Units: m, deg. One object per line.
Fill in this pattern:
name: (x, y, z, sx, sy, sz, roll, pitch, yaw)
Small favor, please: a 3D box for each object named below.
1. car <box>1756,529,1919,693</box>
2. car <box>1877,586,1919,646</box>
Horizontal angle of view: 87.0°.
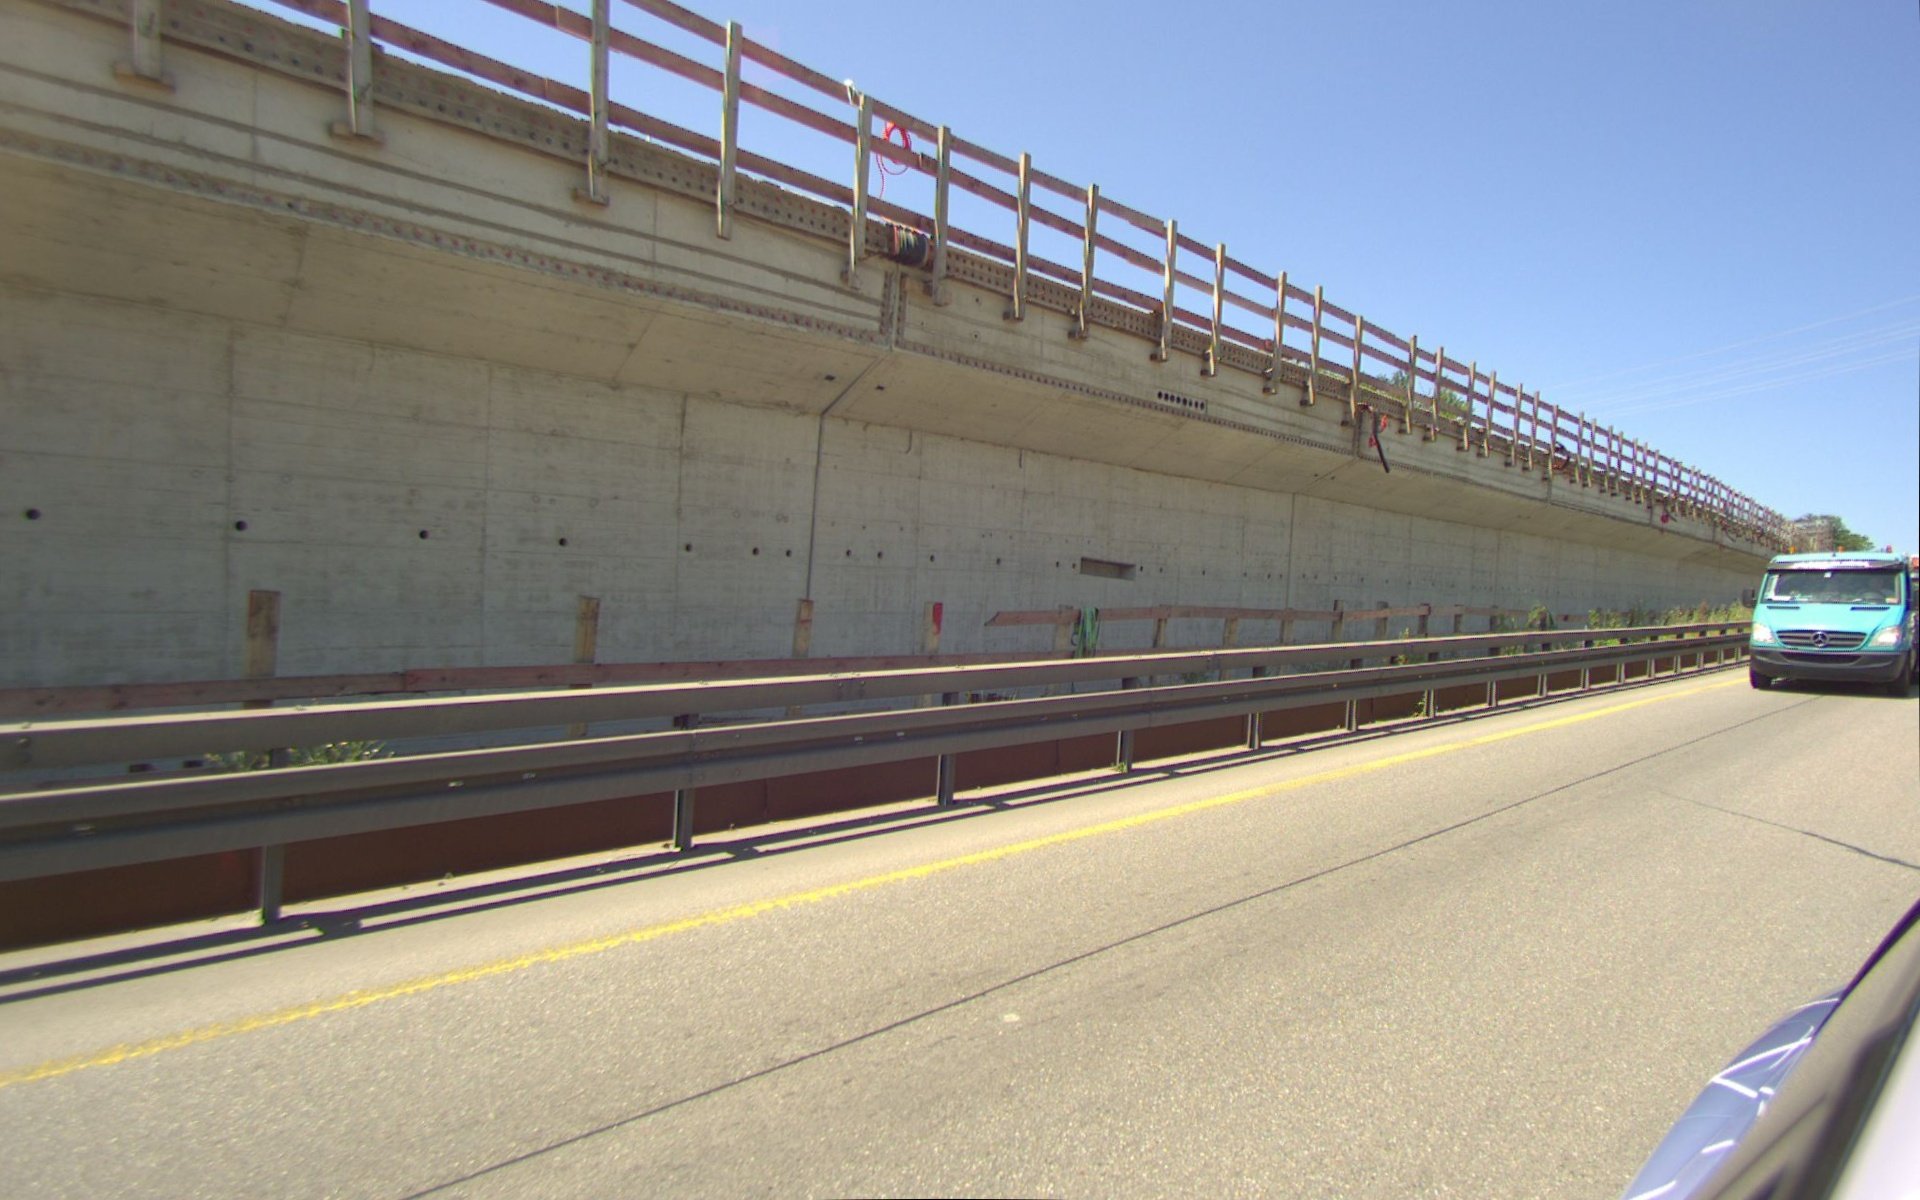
car: (16.063, 0.127, 17.942, 7.088, 2.411, 1.966, 0, 1, -43)
car: (28.571, 0.433, 29.943, 3.934, 1.681, 1.856, -1, 0, -44)
